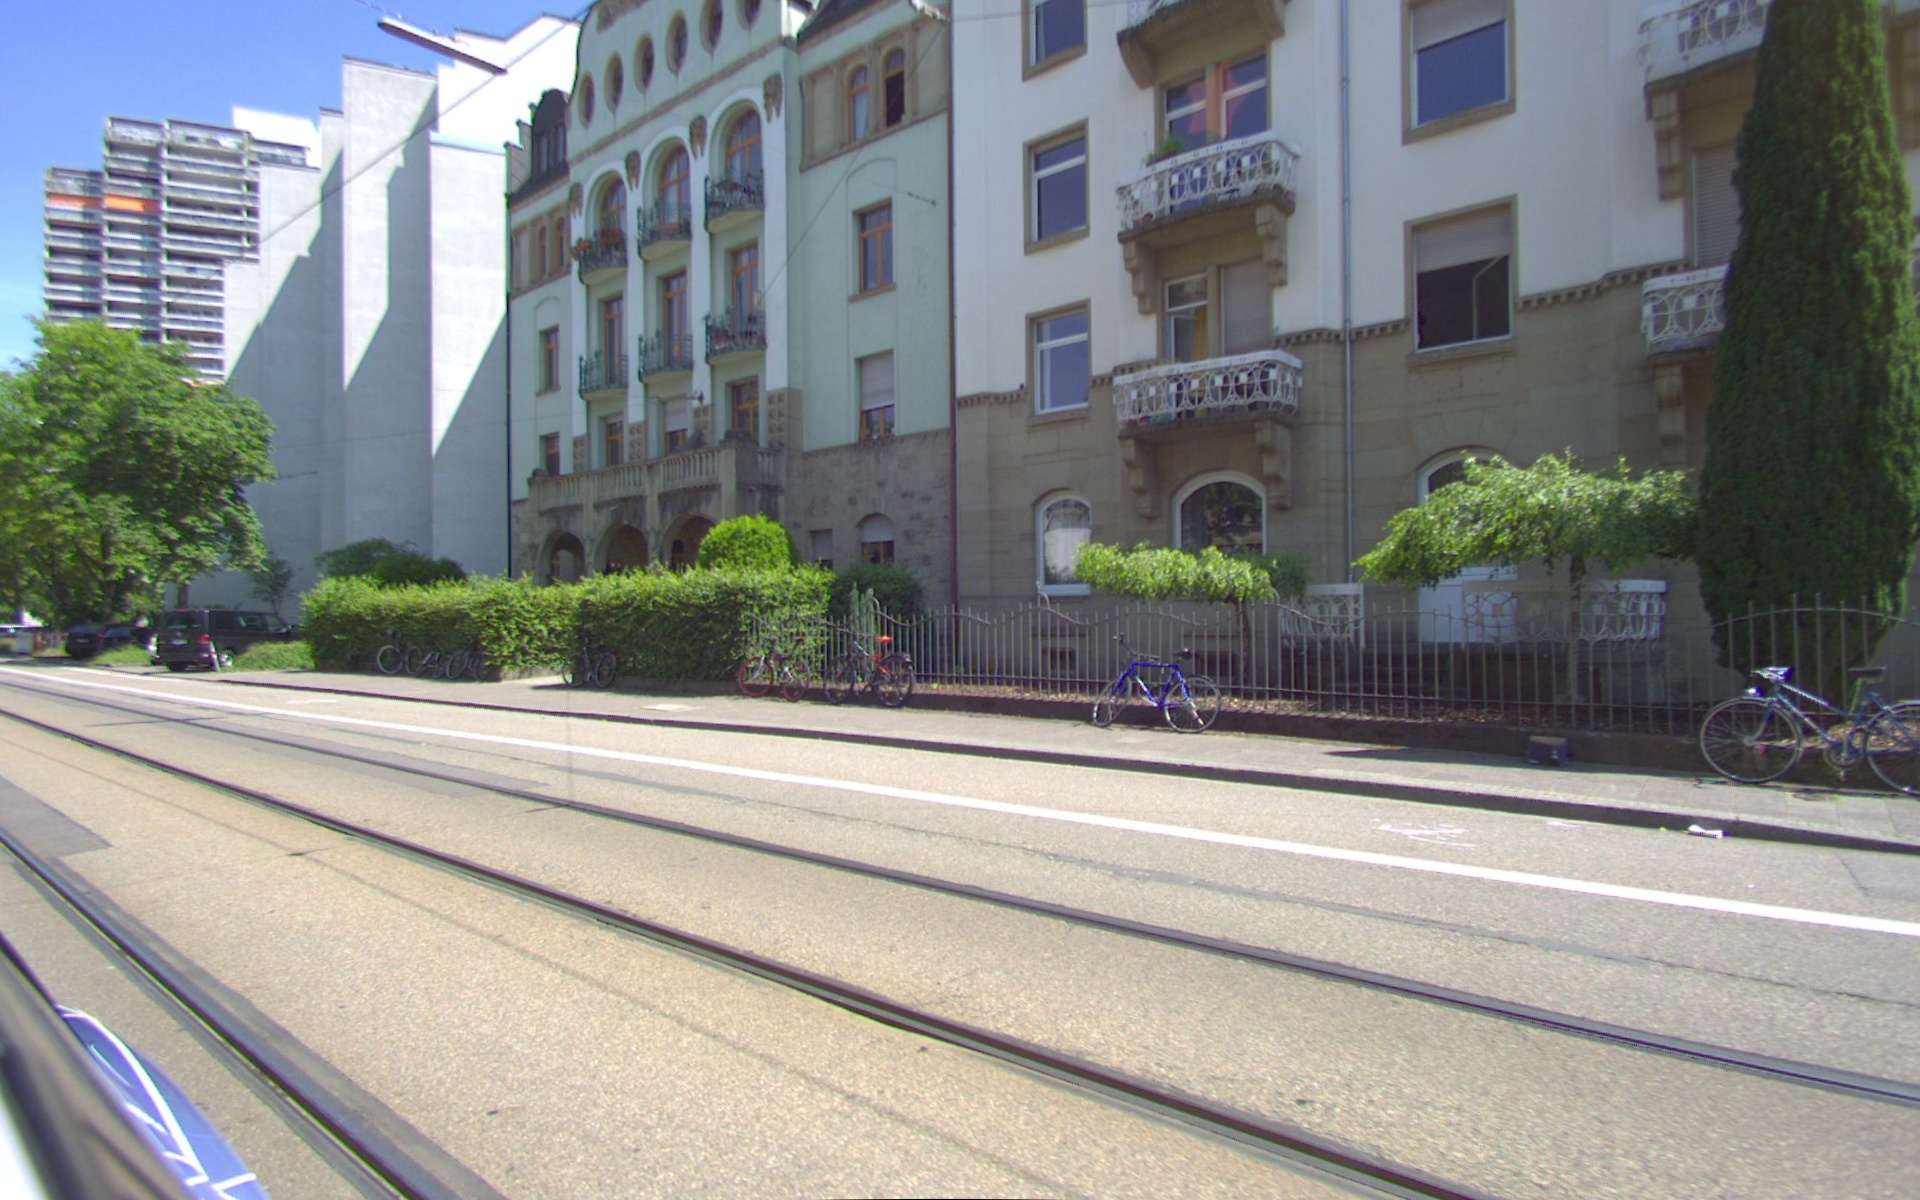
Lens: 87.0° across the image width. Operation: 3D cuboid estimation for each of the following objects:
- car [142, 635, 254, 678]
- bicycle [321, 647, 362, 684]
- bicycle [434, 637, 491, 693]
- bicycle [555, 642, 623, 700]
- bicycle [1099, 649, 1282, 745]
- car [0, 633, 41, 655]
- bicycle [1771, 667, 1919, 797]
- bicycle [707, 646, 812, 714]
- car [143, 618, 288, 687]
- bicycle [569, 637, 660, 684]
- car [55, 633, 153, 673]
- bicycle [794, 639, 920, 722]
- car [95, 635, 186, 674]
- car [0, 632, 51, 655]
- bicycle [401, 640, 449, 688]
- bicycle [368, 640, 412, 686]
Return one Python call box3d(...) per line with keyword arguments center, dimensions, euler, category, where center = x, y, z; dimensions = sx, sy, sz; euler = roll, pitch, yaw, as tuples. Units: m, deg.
box3d(center=(-28.697, 2.084, 38.250), dimensions=(1.712, 1.437, 3.897), euler=(-1, -1, -8), category="car")
box3d(center=(-16.707, 1.755, 27.320), dimensions=(1.726, 0.948, 0.336), euler=(-2, 1, 39), category="bicycle")
box3d(center=(-11.153, 1.437, 22.661), dimensions=(1.931, 1.173, 0.336), euler=(-1, 0, 39), category="bicycle")
box3d(center=(-7.176, 1.348, 19.513), dimensions=(1.897, 1.054, 0.286), euler=(-1, 0, 39), category="bicycle")
box3d(center=(2.518, 1.043, 11.231), dimensions=(1.952, 0.955, 0.457), euler=(-2, -1, 39), category="bicycle")
box3d(center=(-59.463, 2.758, 63.214), dimensions=(1.344, 1.311, 3.313), euler=(-1, -1, -5), category="car")
box3d(center=(7.105, 0.986, 7.557), dimensions=(1.612, 0.924, 0.250), euler=(-2, -1, 39), category="bicycle")
box3d(center=(-3.183, 1.233, 15.929), dimensions=(2.044, 0.978, 0.395), euler=(-2, -1, 39), category="bicycle")
box3d(center=(-24.126, 1.647, 32.997), dimensions=(1.886, 1.984, 3.908), euler=(-1, 0, -1), category="car")
box3d(center=(-8.313, 1.438, 24.456), dimensions=(0.374, 1.003, 2.201), euler=(-1, 0, 39), category="bicycle")
box3d(center=(-36.775, 2.244, 43.605), dimensions=(1.614, 1.561, 3.817), euler=(-1, -1, -12), category="car")
box3d(center=(-1.522, 1.126, 14.620), dimensions=(2.044, 1.104, 0.487), euler=(-2, -1, 39), category="bicycle")
box3d(center=(-34.134, 2.229, 42.249), dimensions=(1.468, 1.410, 3.286), euler=(-1, 0, -8), category="car")
box3d(center=(-56.932, 2.636, 60.946), dimensions=(1.473, 1.276, 3.488), euler=(-1, -1, -5), category="car")
box3d(center=(-12.616, 1.496, 23.860), dimensions=(1.726, 1.076, 0.336), euler=(-1, 0, 39), category="bicycle")
box3d(center=(-14.187, 1.556, 25.159), dimensions=(1.726, 1.076, 0.336), euler=(-1, 0, 39), category="bicycle")
